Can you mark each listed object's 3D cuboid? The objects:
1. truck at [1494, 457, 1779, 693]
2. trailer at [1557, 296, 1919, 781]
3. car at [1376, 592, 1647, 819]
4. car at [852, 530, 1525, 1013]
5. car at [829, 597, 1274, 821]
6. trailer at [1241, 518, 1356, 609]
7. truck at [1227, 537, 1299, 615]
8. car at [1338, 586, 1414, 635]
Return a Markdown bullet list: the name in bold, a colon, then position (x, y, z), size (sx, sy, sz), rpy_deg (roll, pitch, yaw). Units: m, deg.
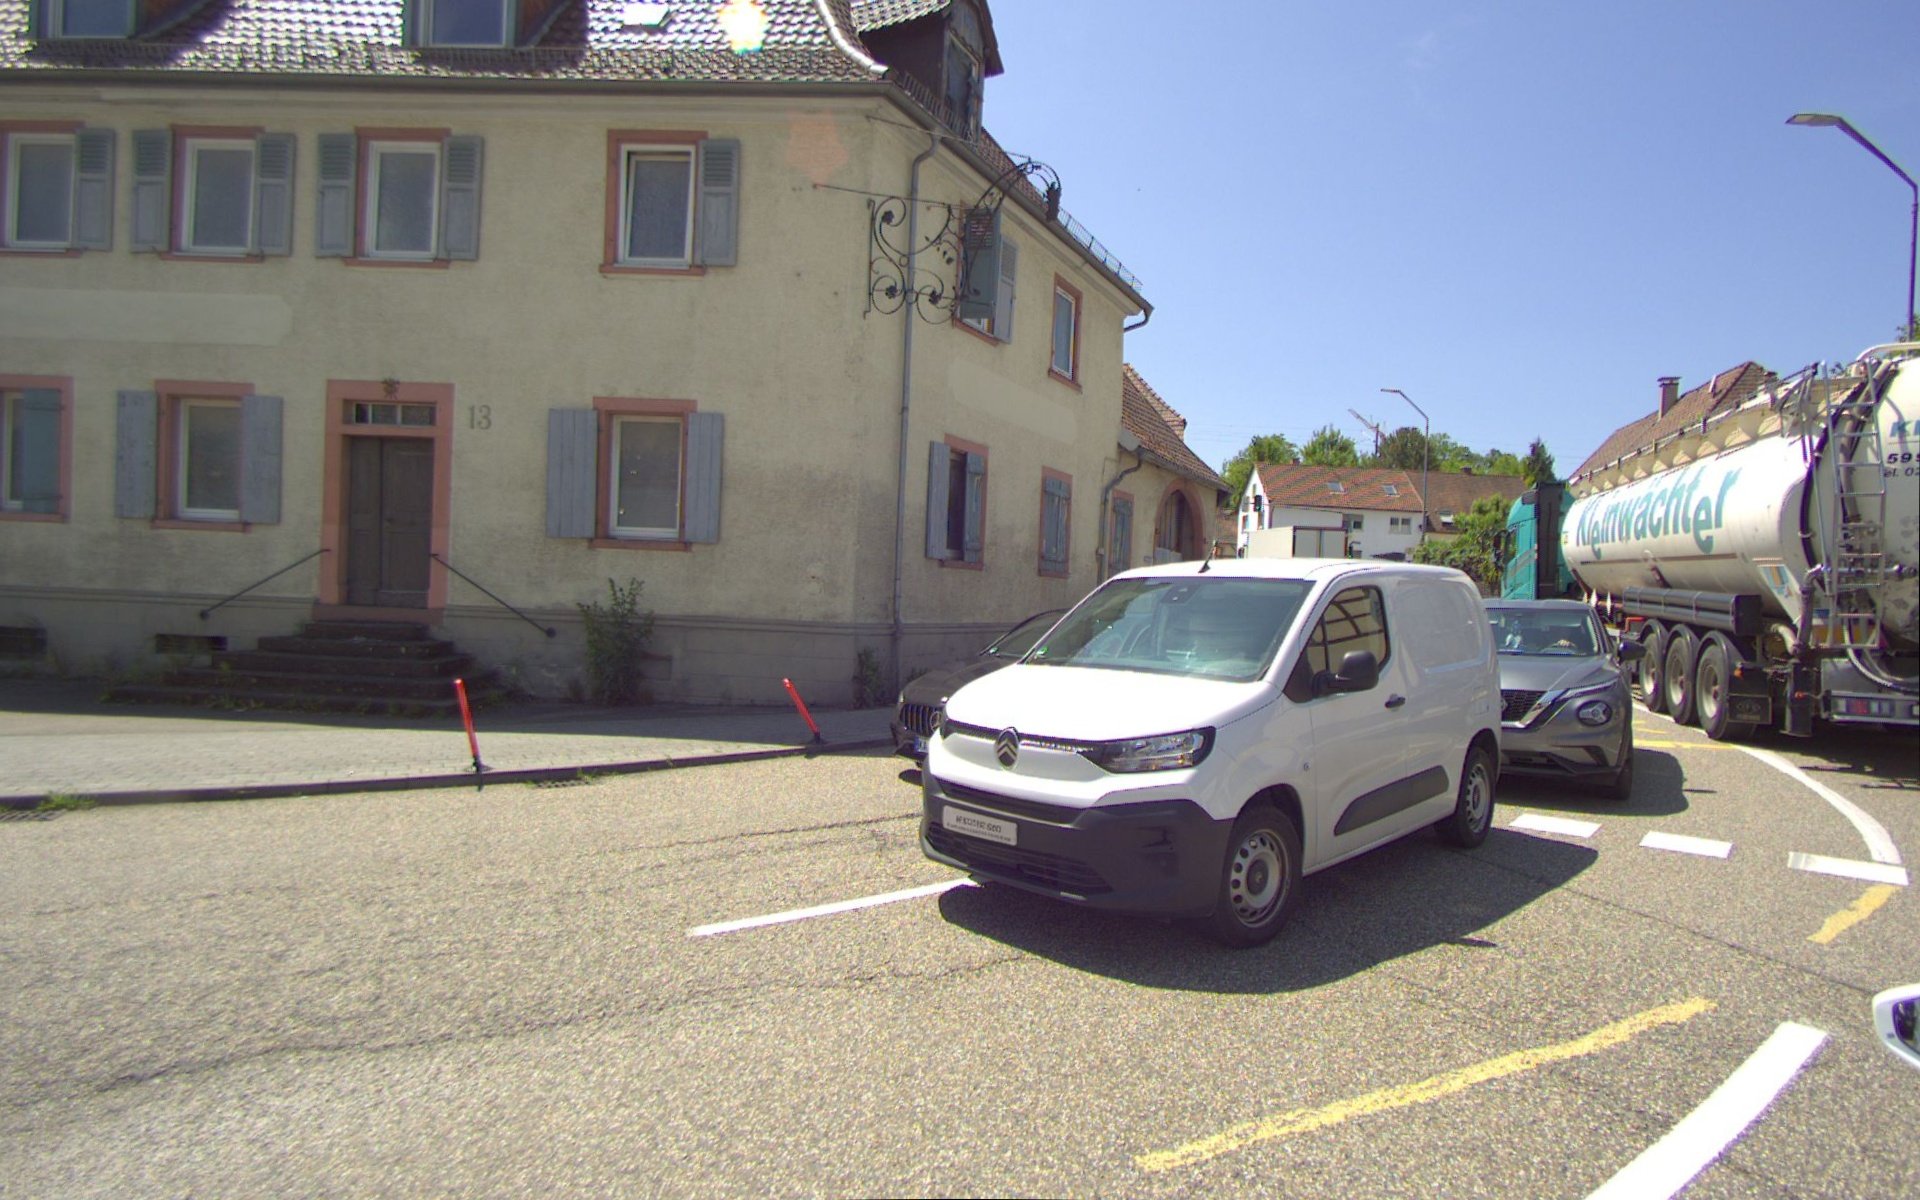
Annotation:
- **truck**: position (13.166, -0.532, 20.210), size (2.937, 4.018, 5.580), rpy_deg (2, 2, 15)
- **trailer**: position (10.734, -0.531, 13.413), size (2.905, 4.001, 11.612), rpy_deg (3, 2, 22)
- **car**: position (5.271, 0.749, 9.427), size (1.767, 1.544, 3.989), rpy_deg (3, 3, 33)
- **car**: position (1.688, 0.630, 6.019), size (1.854, 1.809, 4.494), rpy_deg (2, 1, 44)
- **car**: position (0.977, 0.735, 8.874), size (1.817, 1.461, 3.975), rpy_deg (2, 2, 44)
- **trailer**: position (17.979, -1.837, 54.433), size (3.079, 4.334, 12.500), rpy_deg (1, 1, 6)
- **truck**: position (18.825, -1.521, 62.852), size (3.052, 4.460, 5.937), rpy_deg (3, 2, 6)
- **car**: position (15.149, 0.354, 36.788), size (1.751, 1.606, 3.608), rpy_deg (3, 1, 10)
